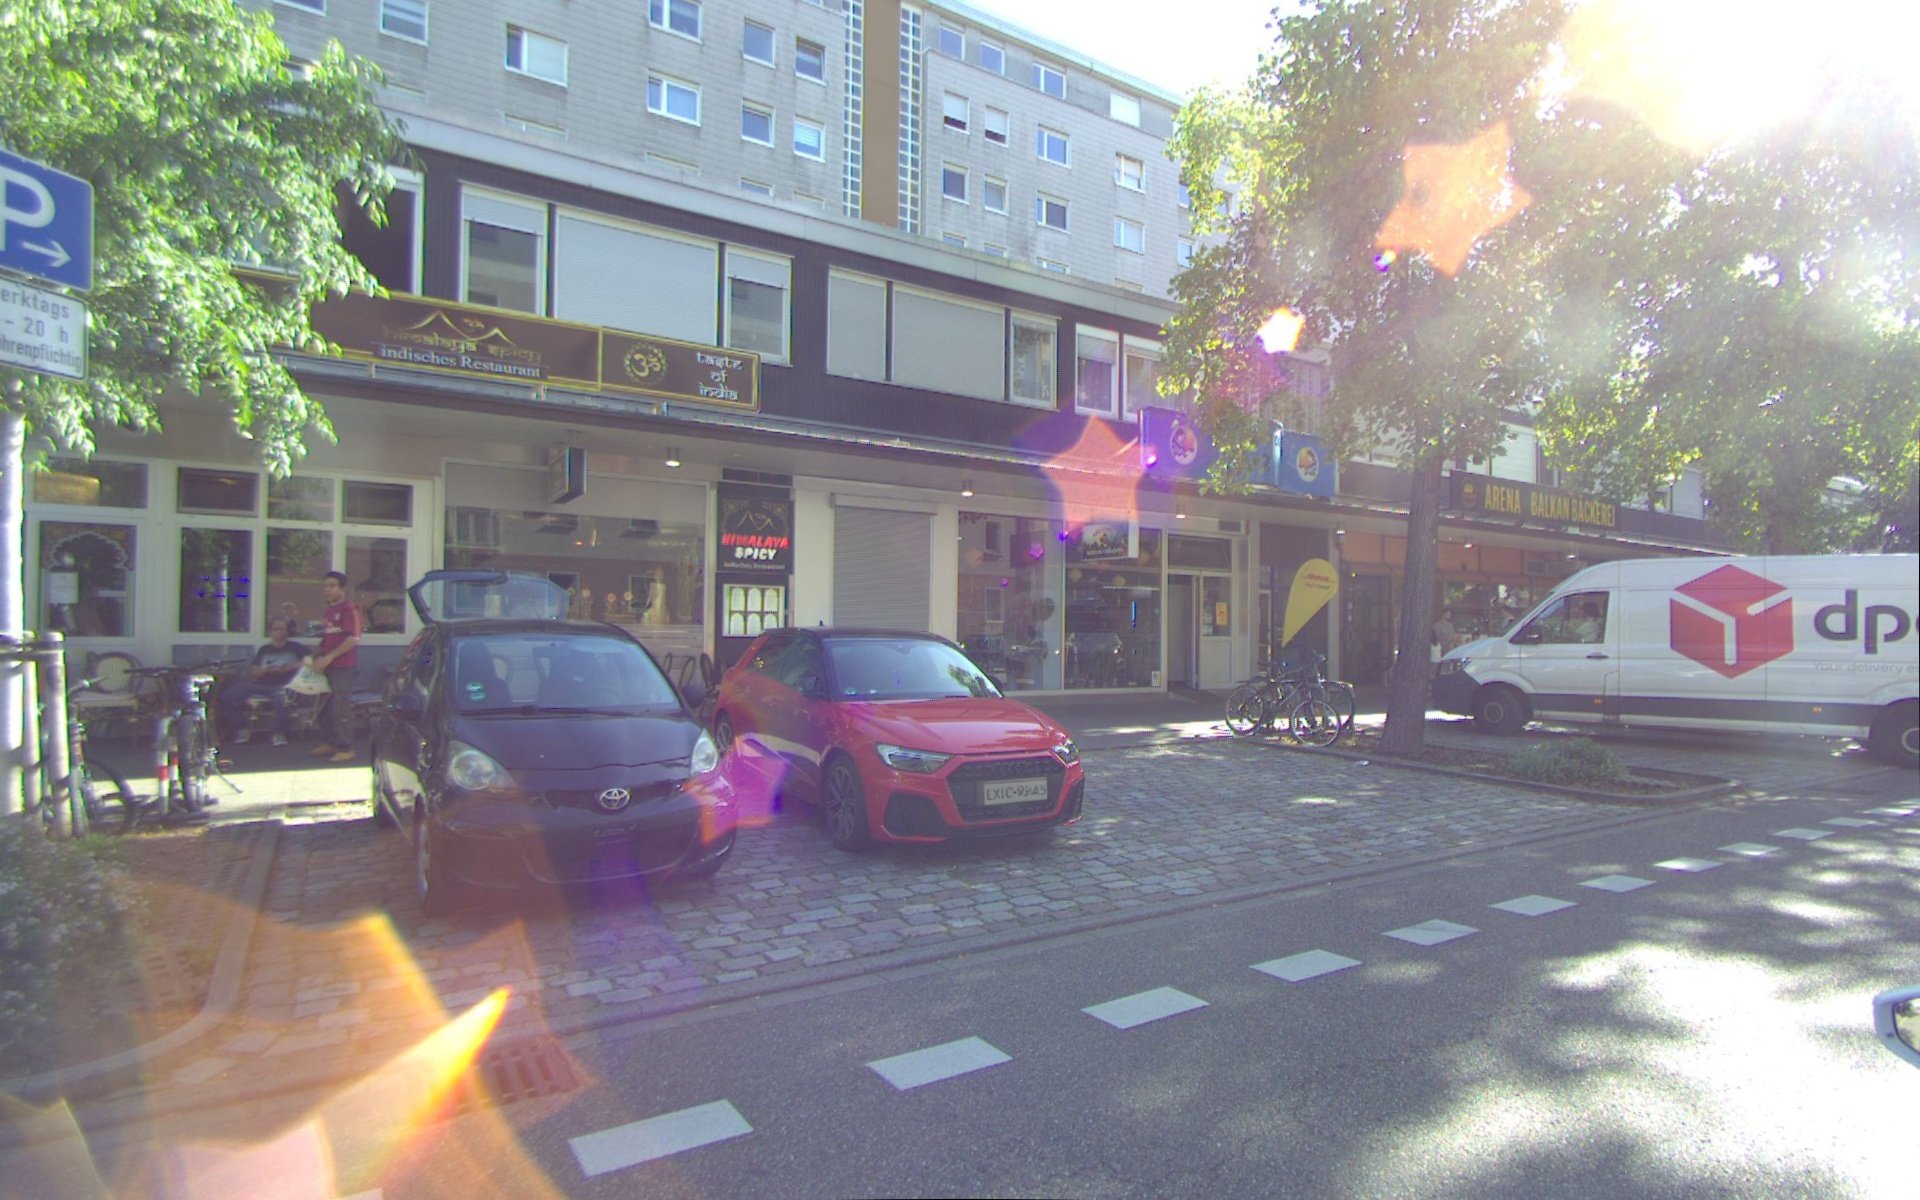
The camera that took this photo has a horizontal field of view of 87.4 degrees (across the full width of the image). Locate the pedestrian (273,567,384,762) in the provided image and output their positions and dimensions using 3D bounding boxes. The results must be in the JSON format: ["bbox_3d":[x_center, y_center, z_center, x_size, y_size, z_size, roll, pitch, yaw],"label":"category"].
[{"bbox_3d":[-5.806,0.583,9.263,0.622,1.735,0.581,1,-1,-4],"label":"pedestrian"}]

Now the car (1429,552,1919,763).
[{"bbox_3d":[10.218,0.726,13.967,6.492,2.506,1.995,-1,-2,34],"label":"car"}]

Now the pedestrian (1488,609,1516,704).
[{"bbox_3d":[11.360,1.173,21.052,0.357,1.959,0.388,1,-2,-31],"label":"pedestrian"}]

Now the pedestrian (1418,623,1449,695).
[{"bbox_3d":[10.031,1.239,21.282,0.416,1.492,0.465,2,-2,-35],"label":"pedestrian"}]

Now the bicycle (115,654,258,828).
[{"bbox_3d":[-5.539,0.939,7.286,0.608,1.053,1.852,2,-2,-32],"label":"bicycle"}]

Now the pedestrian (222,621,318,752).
[{"bbox_3d":[-6.962,0.852,10.162,0.738,1.262,0.645,2,-2,-32],"label":"pedestrian"}]

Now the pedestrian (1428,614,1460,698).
[{"bbox_3d":[10.479,1.204,21.760,0.423,1.805,0.481,2,-2,-35],"label":"pedestrian"}]

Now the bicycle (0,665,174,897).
[{"bbox_3d":[-4.950,0.936,5.777,0.609,1.053,1.849,2,-2,-37],"label":"bicycle"}]

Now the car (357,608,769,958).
[{"bbox_3d":[-2.709,0.827,6.322,1.597,1.470,3.642,2,-1,-35],"label":"car"}]

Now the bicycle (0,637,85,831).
[{"bbox_3d":[-6.432,0.835,6.344,0.791,1.183,2.229,1,-2,-26],"label":"bicycle"}]

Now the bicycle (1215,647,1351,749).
[{"bbox_3d":[4.141,1.228,13.008,0.615,1.132,1.711,2,0,-29],"label":"bicycle"}]

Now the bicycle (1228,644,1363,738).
[{"bbox_3d":[4.620,1.226,13.961,0.579,1.121,1.860,2,0,-29],"label":"bicycle"}]

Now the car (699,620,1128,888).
[{"bbox_3d":[-0.623,0.945,7.927,1.691,1.470,3.896,2,-1,-32],"label":"car"}]
